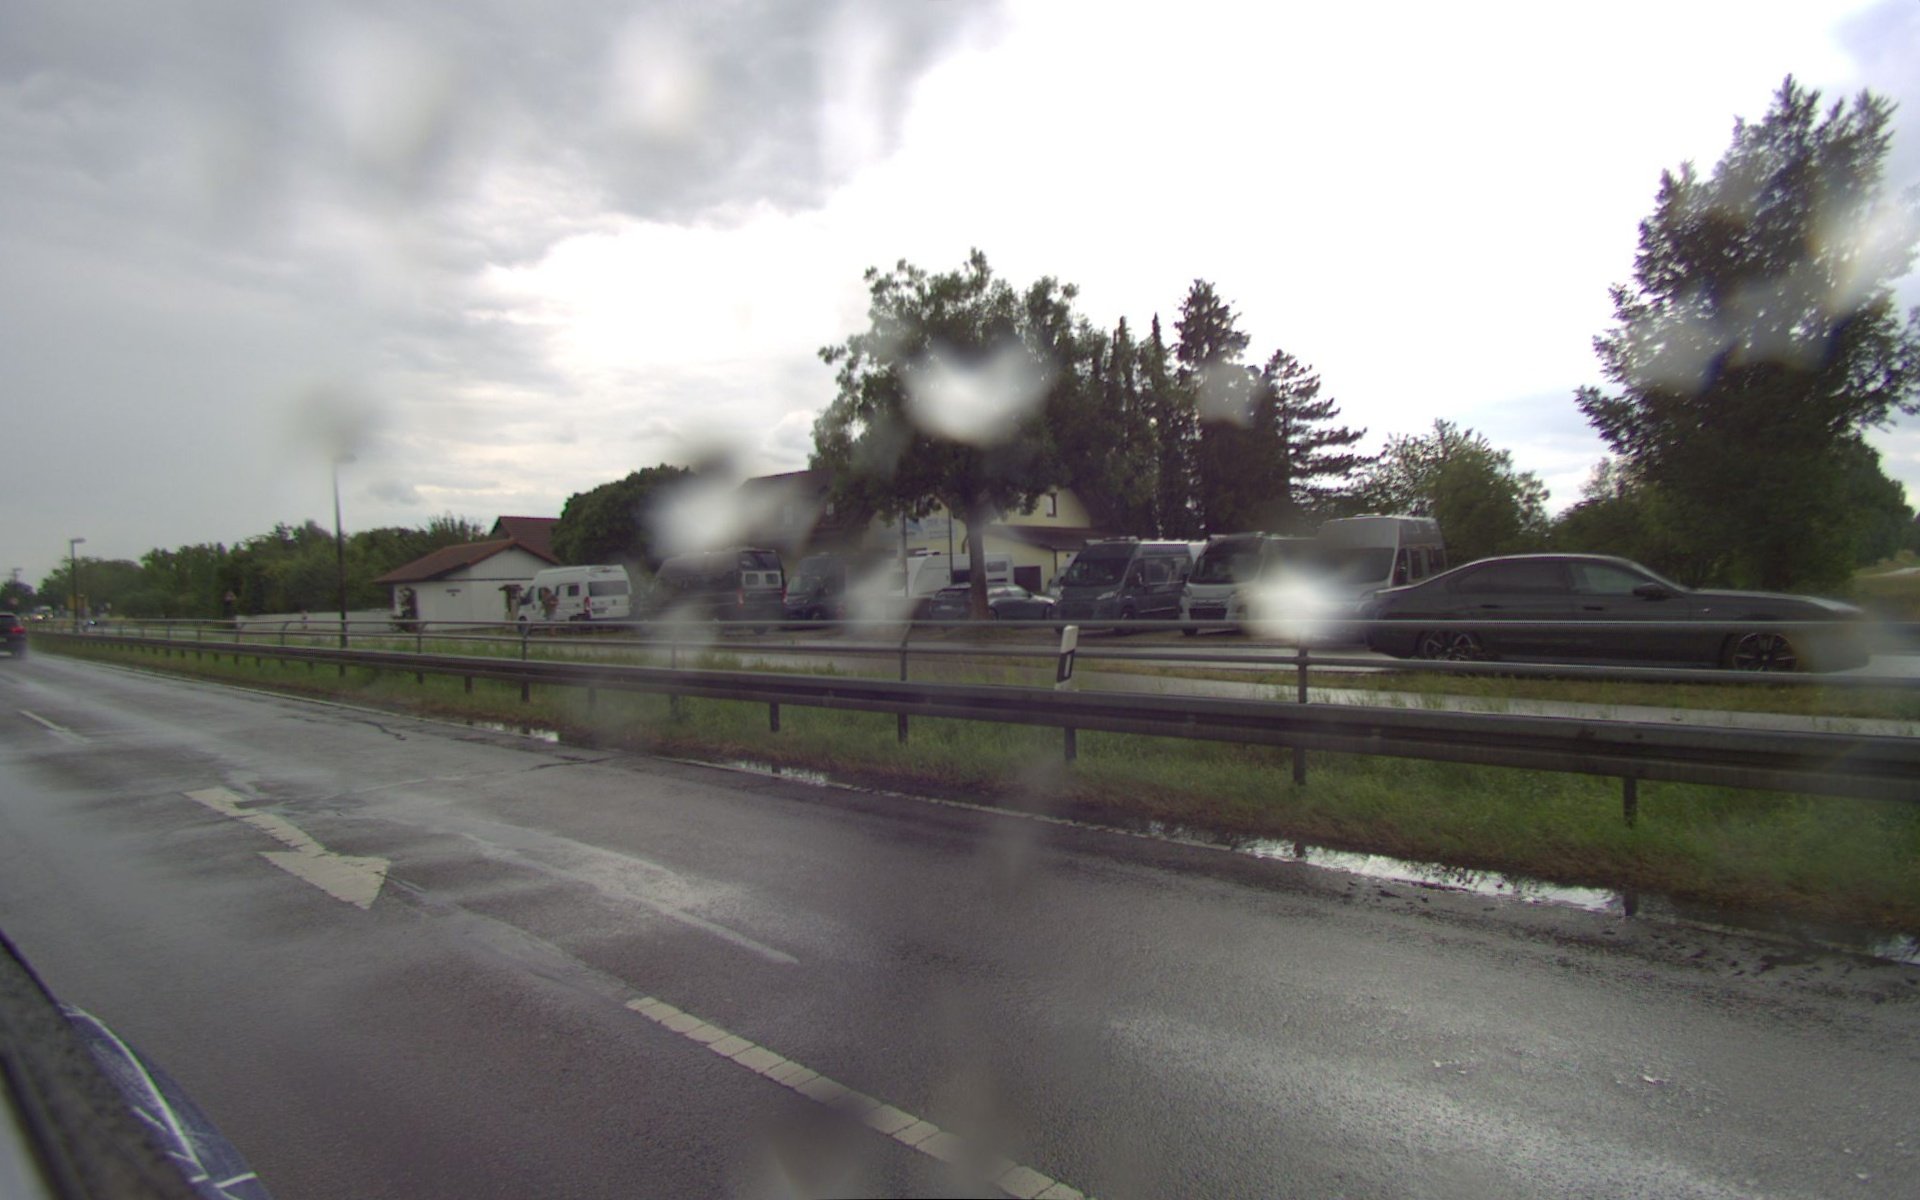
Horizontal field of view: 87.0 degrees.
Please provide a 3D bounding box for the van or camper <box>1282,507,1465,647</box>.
[{"bbox_3d":[9.333,-0.532,22.496,2.079,2.697,5.817,-2,1,39],"label":"van or camper"}]

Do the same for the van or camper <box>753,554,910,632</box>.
[{"bbox_3d":[-4.934,-0.353,39.770,2.432,2.822,5.993,-2,1,39],"label":"van or camper"}]

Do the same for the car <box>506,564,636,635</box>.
[{"bbox_3d":[-15.506,0.023,40.160,6.017,2.600,2.214,-1,1,41],"label":"car"}]

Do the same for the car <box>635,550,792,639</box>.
[{"bbox_3d":[-8.446,-0.158,34.398,5.570,2.783,2.358,-1,1,41],"label":"car"}]

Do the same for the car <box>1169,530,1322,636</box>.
[{"bbox_3d":[7.503,-0.456,26.225,1.997,2.477,5.044,-2,1,38],"label":"car"}]

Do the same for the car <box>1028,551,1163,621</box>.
[{"bbox_3d":[5.260,-0.562,38.468,2.090,2.435,6.030,-1,1,41],"label":"car"}]

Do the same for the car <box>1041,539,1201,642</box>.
[{"bbox_3d":[4.469,-0.304,27.392,1.997,2.520,5.133,-2,1,38],"label":"car"}]

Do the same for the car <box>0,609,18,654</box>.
[{"bbox_3d":[-36.652,1.196,37.799,3.997,1.631,1.746,-1,-1,41],"label":"car"}]

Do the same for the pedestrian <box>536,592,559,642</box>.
[{"bbox_3d":[-14.423,0.593,35.386,0.509,1.723,0.651,-2,1,-41],"label":"pedestrian"}]

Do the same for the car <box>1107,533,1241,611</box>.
[{"bbox_3d":[7.853,-1.011,36.625,2.090,2.557,6.030,-1,1,41],"label":"car"}]

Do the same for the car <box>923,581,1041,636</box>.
[{"bbox_3d":[0.745,0.242,31.535,1.539,1.507,3.844,-2,1,41],"label":"car"}]

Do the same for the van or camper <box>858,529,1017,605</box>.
[{"bbox_3d":[-0.722,-1.248,38.300,2.559,2.611,6.162,-2,1,39],"label":"van or camper"}]

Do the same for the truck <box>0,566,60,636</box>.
[{"bbox_3d":[-73.947,0.116,79.882,7.778,5.071,3.216,-3,0,41],"label":"truck"}]

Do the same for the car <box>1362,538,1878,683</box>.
[{"bbox_3d":[7.878,0.161,12.622,5.112,1.502,1.501,-2,-1,37],"label":"car"}]
